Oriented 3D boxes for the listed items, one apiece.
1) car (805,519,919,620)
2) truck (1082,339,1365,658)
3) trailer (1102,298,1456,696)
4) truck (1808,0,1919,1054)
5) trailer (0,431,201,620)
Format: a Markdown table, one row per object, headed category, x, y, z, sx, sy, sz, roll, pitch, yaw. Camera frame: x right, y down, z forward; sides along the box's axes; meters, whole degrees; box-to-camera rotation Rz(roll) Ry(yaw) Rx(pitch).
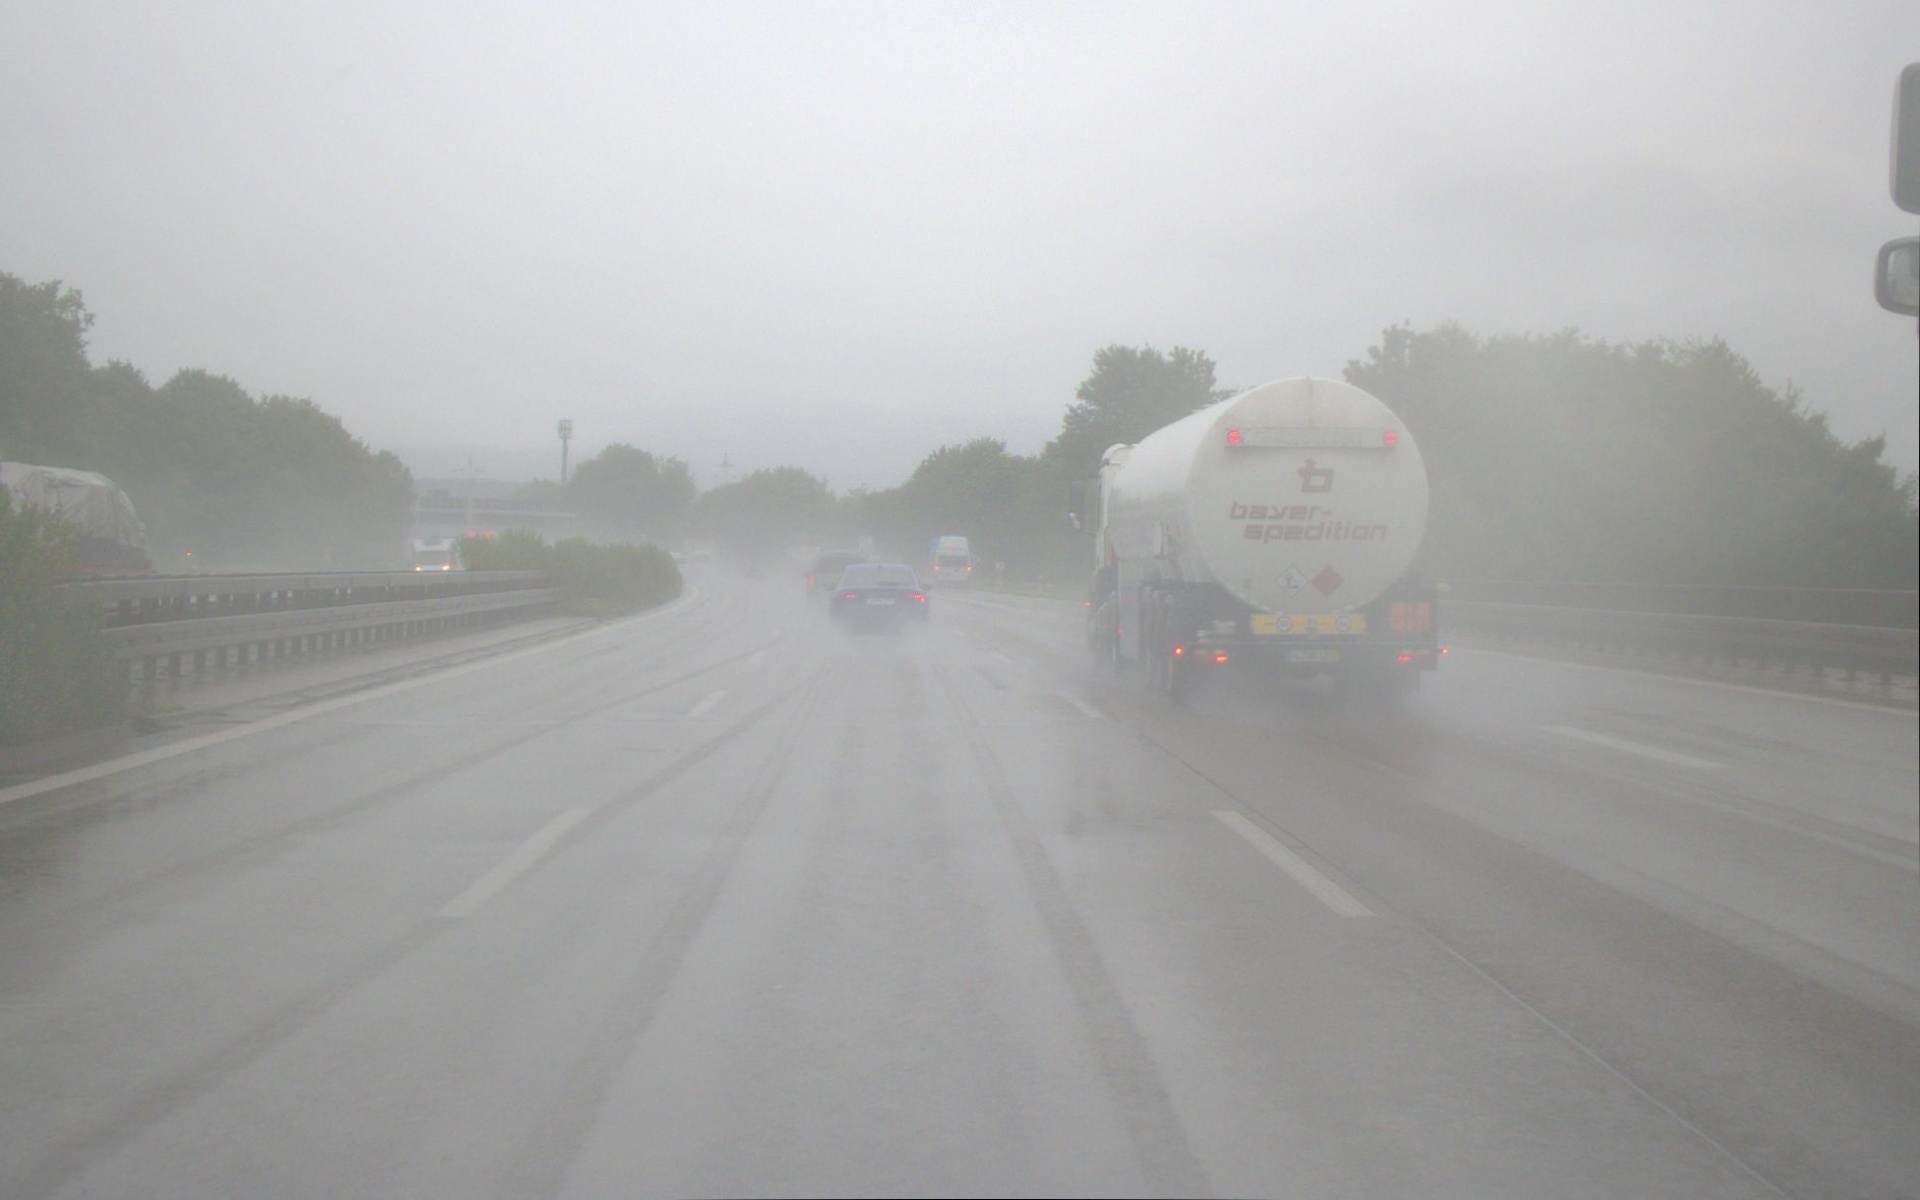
| category | x | y | z | sx | sy | sz | roll | pitch | yaw |
| --- | --- | --- | --- | --- | --- | --- | --- | --- | --- |
| car | -1.800 | -0.584 | 62.122 | 1.978 | 1.750 | 4.482 | 0 | 2 | -2 |
| truck | 3.173 | -1.225 | 43.111 | 2.943 | 3.671 | 6.362 | 1 | 1 | -1 |
| trailer | 3.268 | -1.055 | 37.638 | 3.004 | 3.834 | 8.624 | 0 | 1 | 0 |
| truck | 4.208 | -0.615 | 6.919 | 3.104 | 3.793 | 7.212 | 0 | 1 | -1 |
| trailer | -18.809 | -1.522 | 72.545 | 3.072 | 3.600 | 13.572 | 0 | 1 | -2 |
